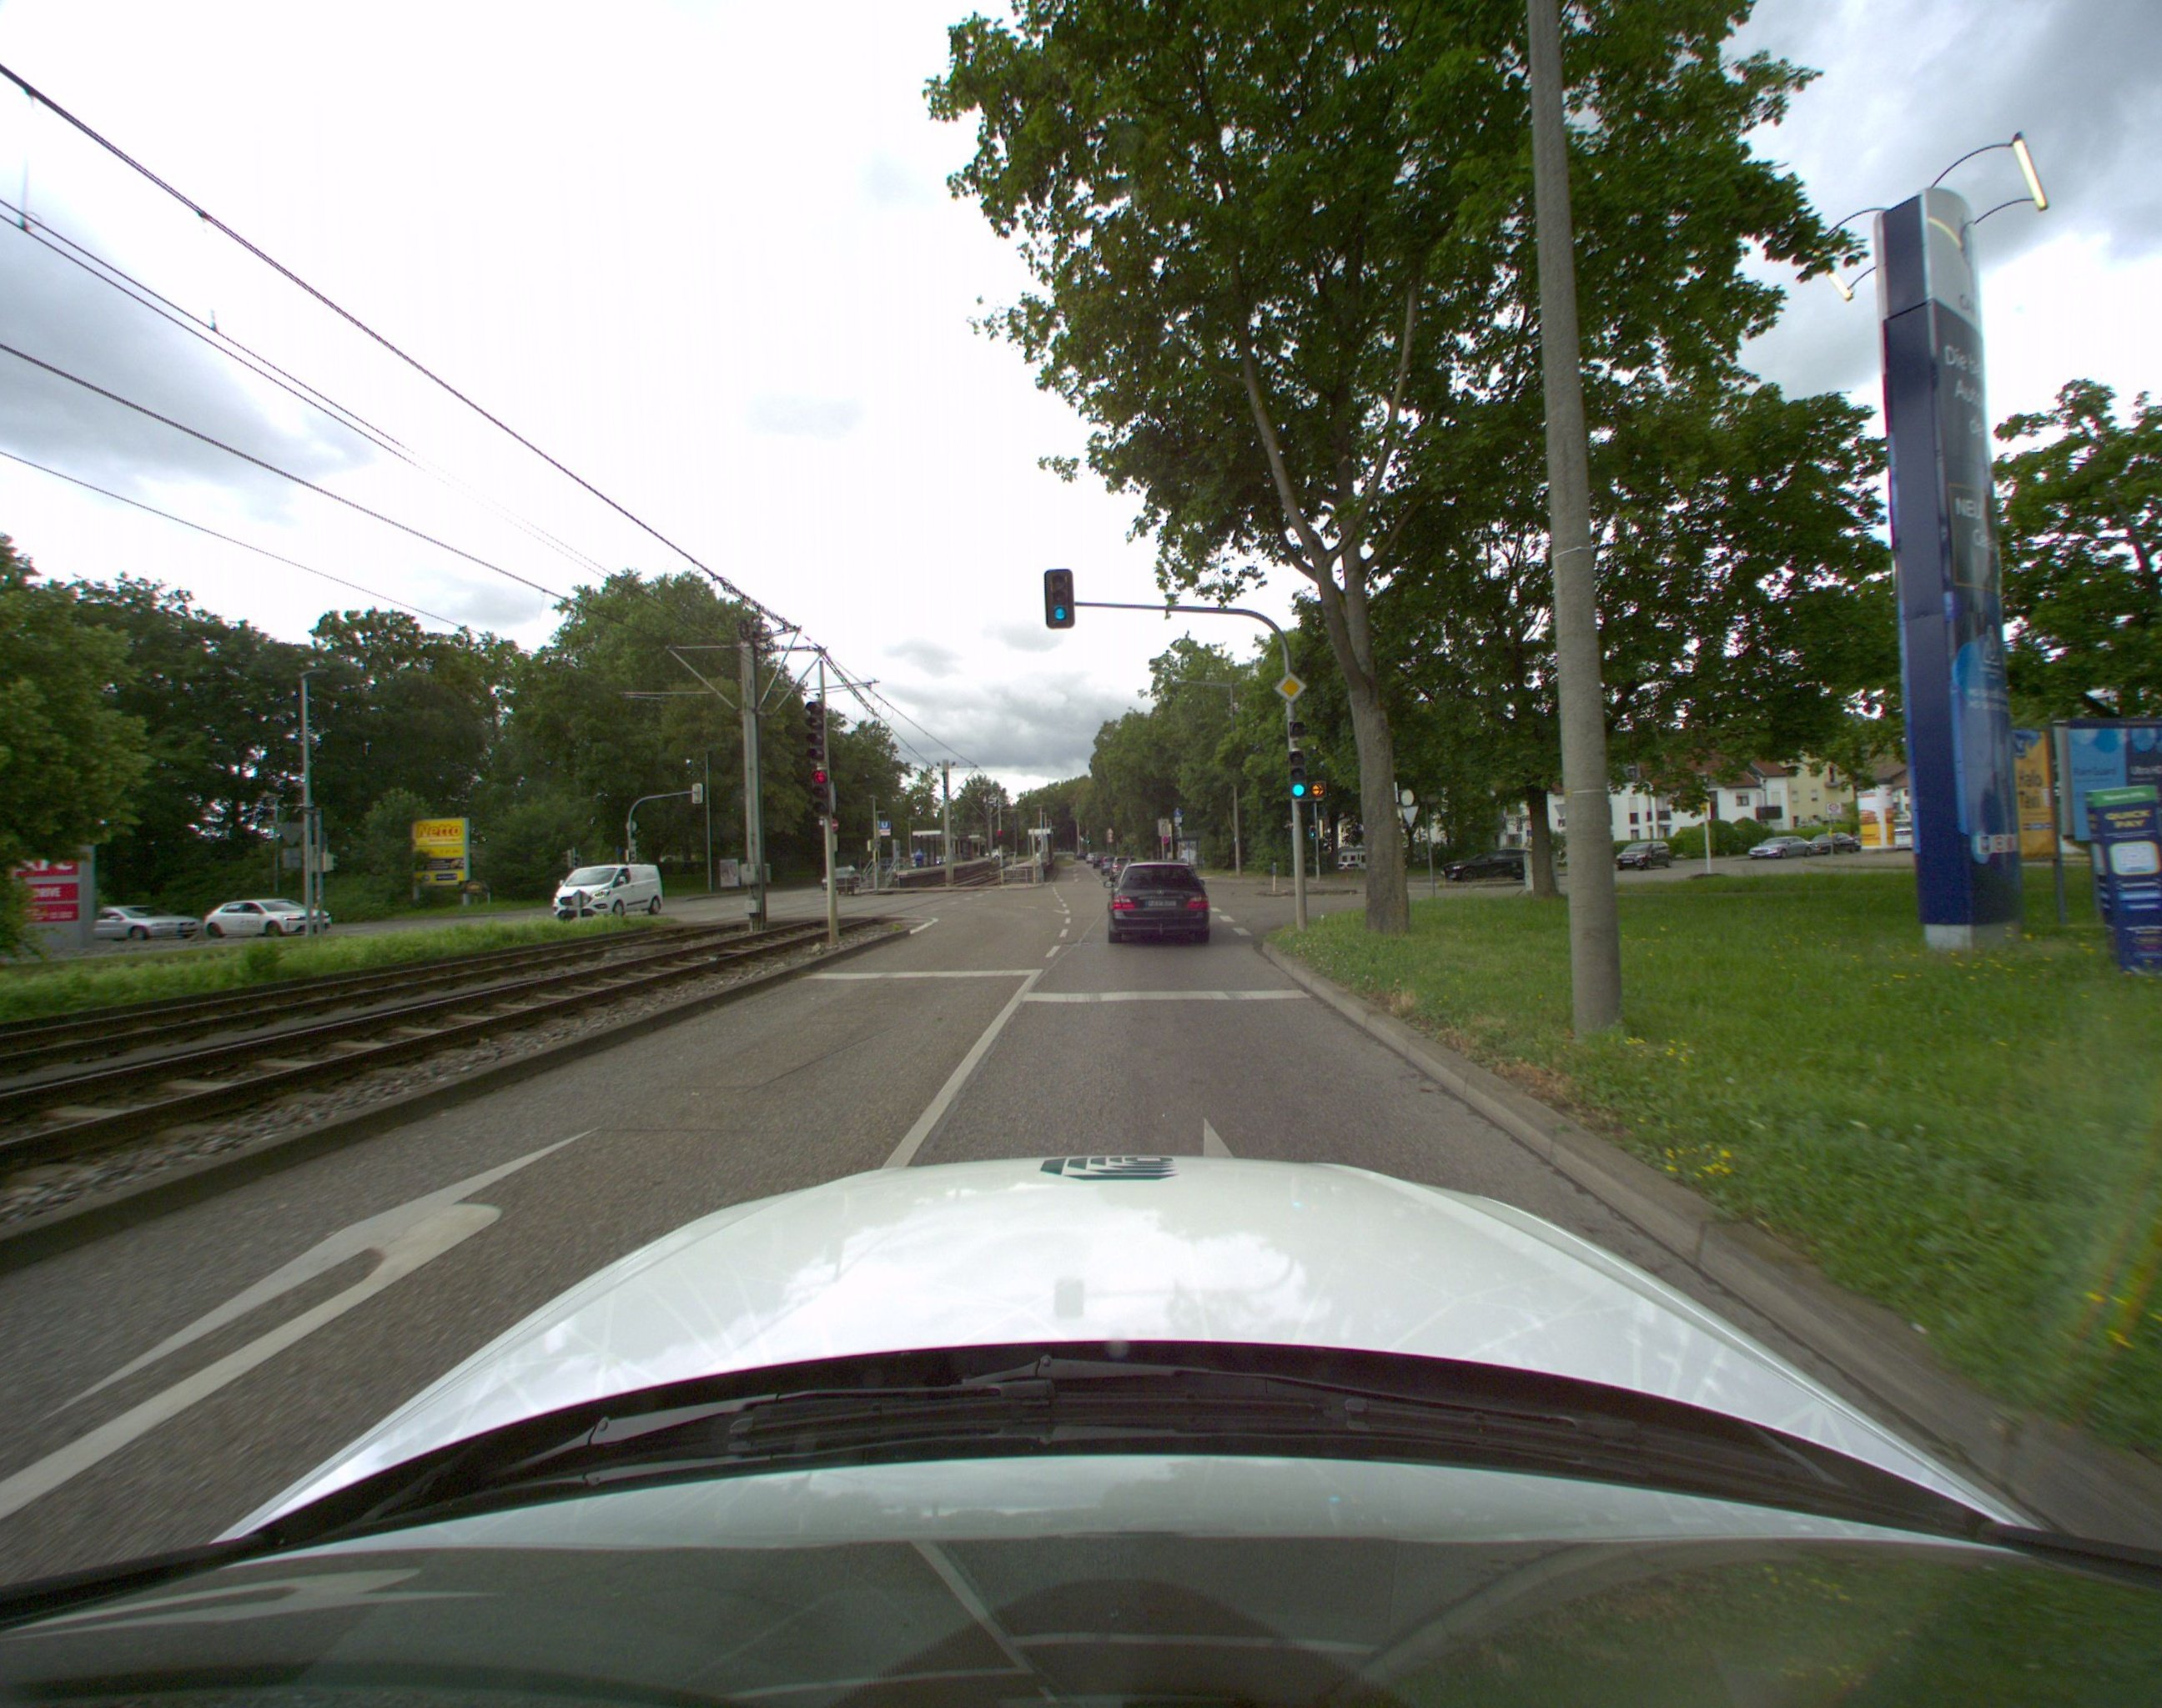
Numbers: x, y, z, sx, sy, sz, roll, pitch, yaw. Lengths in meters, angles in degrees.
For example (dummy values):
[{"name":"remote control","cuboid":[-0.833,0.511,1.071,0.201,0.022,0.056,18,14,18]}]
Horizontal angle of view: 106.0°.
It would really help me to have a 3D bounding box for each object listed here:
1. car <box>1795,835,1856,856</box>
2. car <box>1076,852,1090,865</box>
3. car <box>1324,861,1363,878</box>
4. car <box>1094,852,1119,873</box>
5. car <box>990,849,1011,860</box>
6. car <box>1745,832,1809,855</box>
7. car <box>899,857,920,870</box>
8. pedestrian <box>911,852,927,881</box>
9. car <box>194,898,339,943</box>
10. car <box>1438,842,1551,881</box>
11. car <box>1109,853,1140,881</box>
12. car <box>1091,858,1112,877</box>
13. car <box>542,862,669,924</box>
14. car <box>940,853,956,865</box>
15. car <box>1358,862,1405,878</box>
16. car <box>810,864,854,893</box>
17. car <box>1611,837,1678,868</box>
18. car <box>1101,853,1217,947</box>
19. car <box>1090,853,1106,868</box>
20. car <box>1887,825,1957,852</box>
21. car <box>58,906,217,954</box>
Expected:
[{"name":"car","cuboid":[53.345,-0.557,58.331,4.482,1.426,1.981,0,-1,-30]},{"name":"car","cuboid":[0.271,0.687,124.404,1.989,1.966,3.995,0,-1,-3]},{"name":"car","cuboid":[22.412,1.306,69.664,1.479,1.386,3.825,0,-1,-11]},{"name":"car","cuboid":[2.068,0.679,64.875,1.773,1.648,4.005,0,-1,4]},{"name":"car","cuboid":[-14.911,0.095,151.073,2.010,2.014,3.953,1,-1,-40]},{"name":"car","cuboid":[46.964,-0.669,54.956,4.483,1.426,1.980,0,-1,-31]},{"name":"car","cuboid":[-20.834,1.184,99.043,1.681,1.446,3.997,-4,-1,-2]},{"name":"pedestrian","cuboid":[-12.508,0.962,62.810,0.966,2.186,0.976,-2,0,0]},{"name":"car","cuboid":[-31.477,2.548,31.535,3.860,1.408,1.849,-3,-1,4]},{"name":"car","cuboid":[18.358,0.333,36.308,4.130,1.526,1.708,-3,-1,7]},{"name":"car","cuboid":[2.718,0.785,49.779,1.773,1.648,4.005,0,-1,4]},{"name":"car","cuboid":[2.103,1.399,83.907,1.988,1.918,3.997,0,-1,-2]},{"name":"car","cuboid":[-17.368,1.354,30.087,1.990,2.013,4.878,-3,-1,-4]},{"name":"car","cuboid":[-20.404,0.816,124.676,1.705,1.751,4.397,-3,-1,-1]},{"name":"car","cuboid":[23.381,1.243,63.479,1.622,1.246,3.842,0,-1,-12]},{"name":"car","cuboid":[-16.222,1.564,53.198,1.692,1.860,3.997,0,-1,-2]},{"name":"car","cuboid":[33.466,-0.086,48.341,4.016,1.766,1.978,0,-1,-35]},{"name":"car","cuboid":[1.338,0.755,15.458,1.776,1.525,3.999,0,0,-1]},{"name":"car","cuboid":[2.179,0.852,105.270,1.988,1.893,3.997,0,-1,-2]},{"name":"car","cuboid":[50.326,-0.921,48.698,4.012,1.517,1.981,-2,0,-30]},{"name":"car","cuboid":[-37.059,2.970,32.061,3.975,1.552,1.846,-3,-1,-1]}]
